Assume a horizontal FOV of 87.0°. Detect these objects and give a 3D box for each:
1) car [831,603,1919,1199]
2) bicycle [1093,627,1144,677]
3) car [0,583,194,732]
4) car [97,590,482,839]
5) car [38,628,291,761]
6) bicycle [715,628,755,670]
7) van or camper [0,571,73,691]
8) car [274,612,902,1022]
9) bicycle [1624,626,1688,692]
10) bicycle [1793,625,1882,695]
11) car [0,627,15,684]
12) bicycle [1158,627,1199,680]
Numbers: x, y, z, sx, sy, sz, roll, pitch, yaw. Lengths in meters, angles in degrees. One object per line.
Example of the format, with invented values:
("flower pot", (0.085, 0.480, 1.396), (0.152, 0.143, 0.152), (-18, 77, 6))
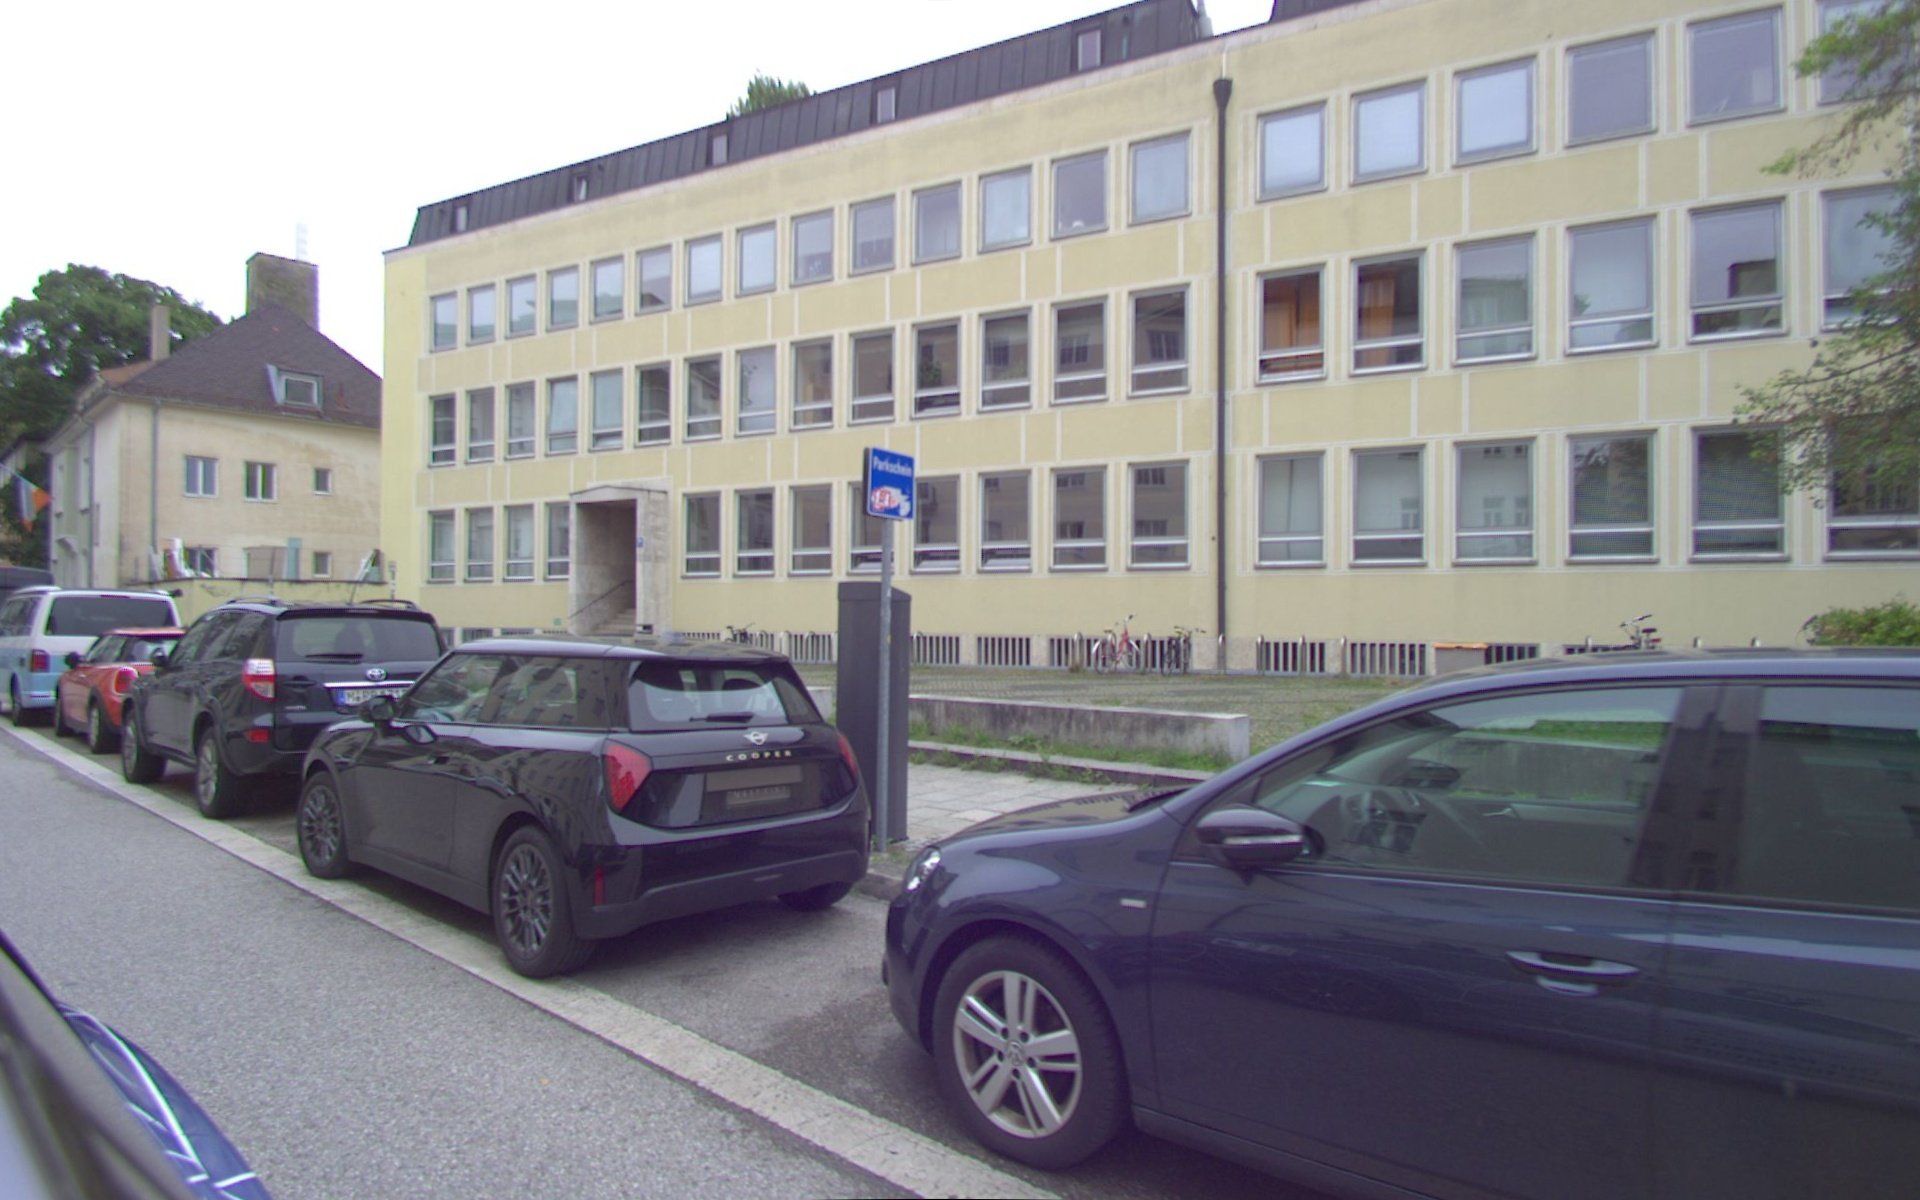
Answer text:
("car", (1.692, 0.771, 2.537), (4.096, 1.506, 1.615), (-1, -1, 39))
("bicycle", (3.295, 1.056, 21.006), (0.414, 0.952, 1.394), (-1, 0, 37))
("car", (-13.864, 0.856, 15.766), (4.956, 1.975, 1.896), (-2, -3, 39))
("car", (-6.052, 0.853, 8.952), (4.137, 1.702, 1.697), (-1, -3, 40))
("car", (-10.097, 1.091, 12.765), (3.707, 1.417, 1.785), (-1, -4, 41))
("bicycle", (-5.559, 1.207, 25.089), (0.410, 0.952, 1.406), (-1, 0, 12))
("van or camper", (-23.441, 0.734, 24.519), (5.561, 2.671, 2.268), (-1, -4, 43))
("car", (-2.251, 0.848, 5.609), (3.817, 1.506, 1.614), (-1, -3, 41))
("bicycle", (11.234, 0.929, 16.374), (0.500, 0.952, 1.597), (-1, 0, 22))
("bicycle", (13.202, 0.879, 15.262), (0.500, 0.952, 1.597), (-1, 0, 22))
("car", (-27.518, 1.488, 27.809), (3.903, 1.508, 1.637), (-1, -3, 38))
("bicycle", (4.308, 1.030, 19.899), (0.412, 0.952, 1.398), (-1, 0, 28))
